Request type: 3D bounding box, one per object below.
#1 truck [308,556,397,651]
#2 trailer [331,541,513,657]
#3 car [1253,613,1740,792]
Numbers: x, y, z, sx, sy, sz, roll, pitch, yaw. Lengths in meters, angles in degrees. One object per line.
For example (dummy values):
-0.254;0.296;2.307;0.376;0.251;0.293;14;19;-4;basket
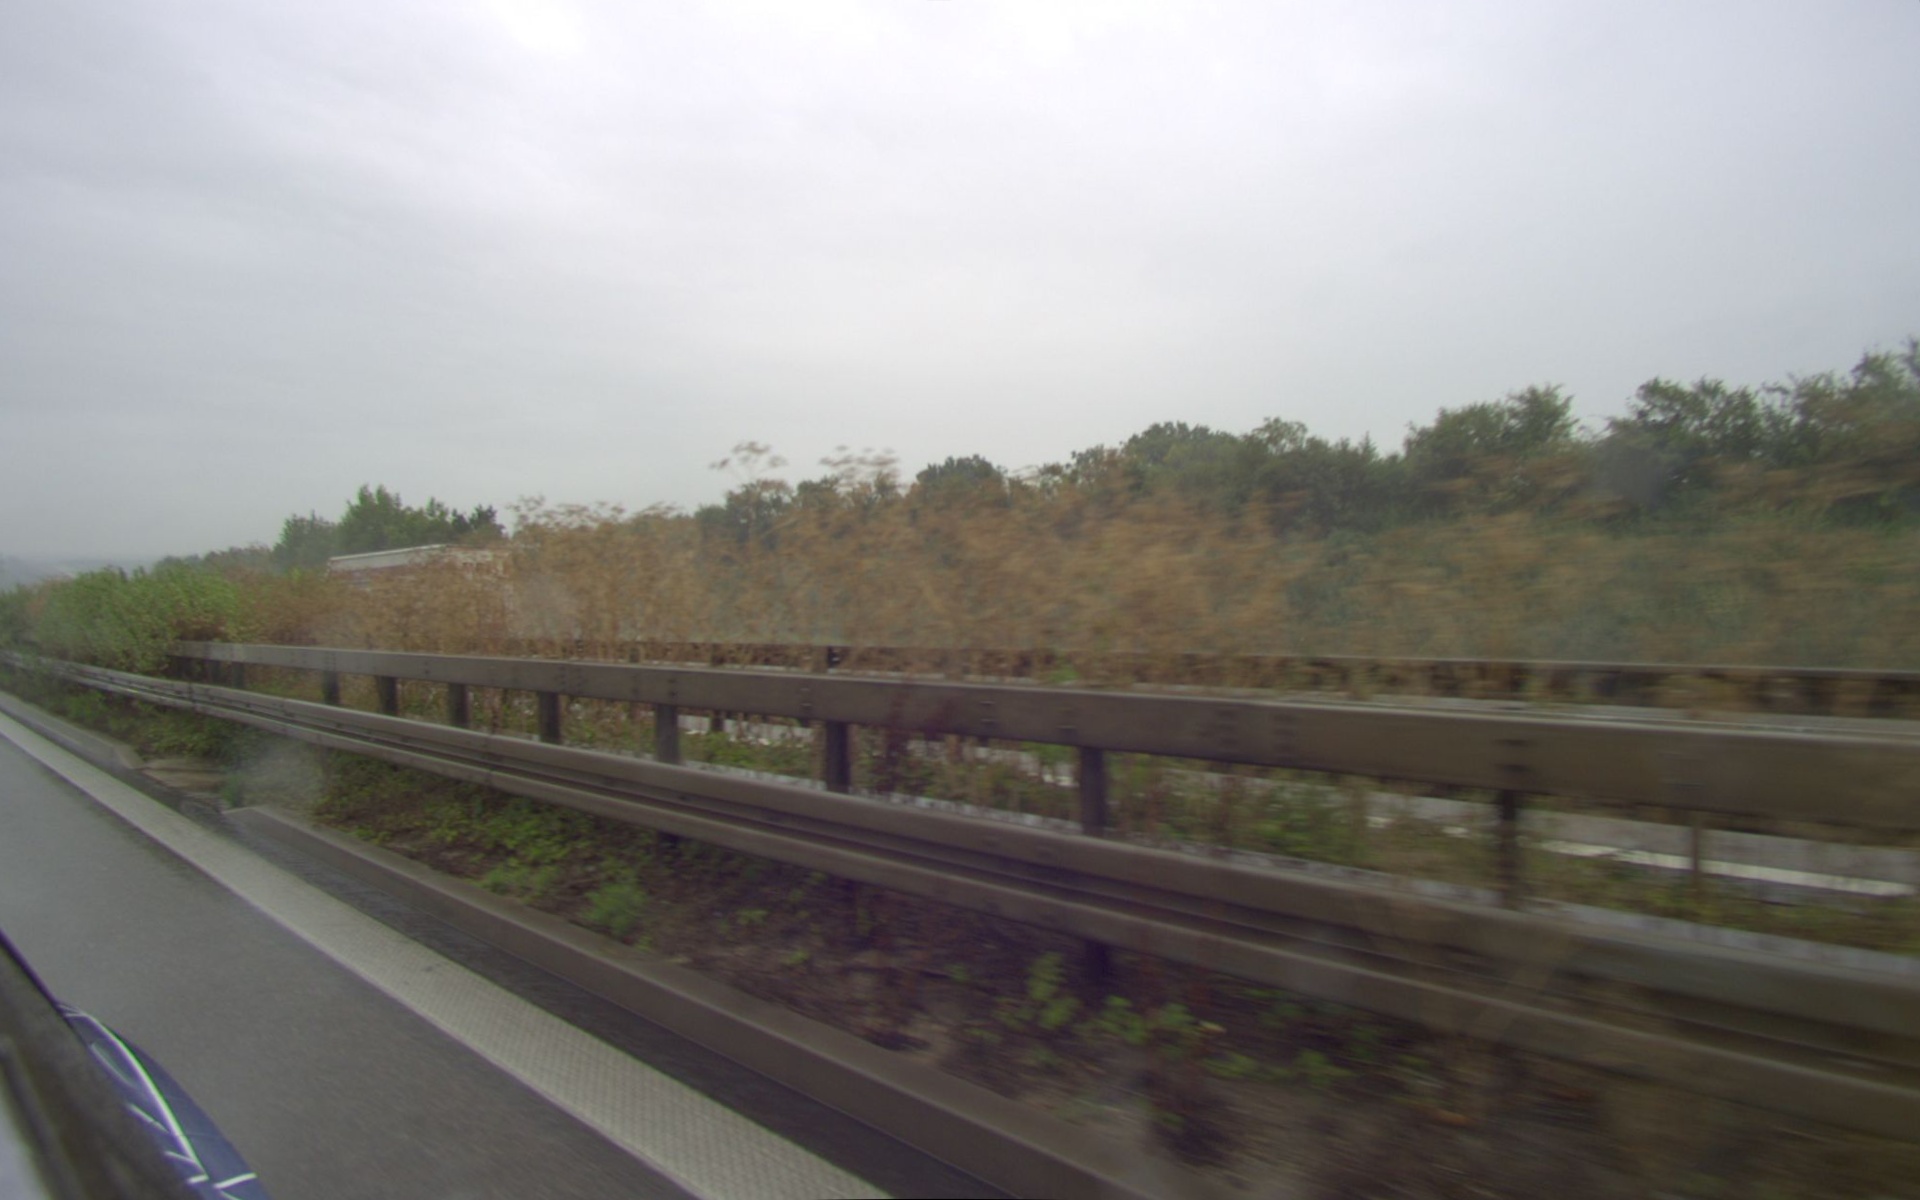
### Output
-28.623;0.167;47.683;4.076;4.259;2.501;-1;-1;42;truck
-22.962;0.052;42.586;12.939;4.253;2.491;-1;-1;42;trailer
5.245;0.861;10.119;3.996;1.409;1.974;-1;-1;39;car
